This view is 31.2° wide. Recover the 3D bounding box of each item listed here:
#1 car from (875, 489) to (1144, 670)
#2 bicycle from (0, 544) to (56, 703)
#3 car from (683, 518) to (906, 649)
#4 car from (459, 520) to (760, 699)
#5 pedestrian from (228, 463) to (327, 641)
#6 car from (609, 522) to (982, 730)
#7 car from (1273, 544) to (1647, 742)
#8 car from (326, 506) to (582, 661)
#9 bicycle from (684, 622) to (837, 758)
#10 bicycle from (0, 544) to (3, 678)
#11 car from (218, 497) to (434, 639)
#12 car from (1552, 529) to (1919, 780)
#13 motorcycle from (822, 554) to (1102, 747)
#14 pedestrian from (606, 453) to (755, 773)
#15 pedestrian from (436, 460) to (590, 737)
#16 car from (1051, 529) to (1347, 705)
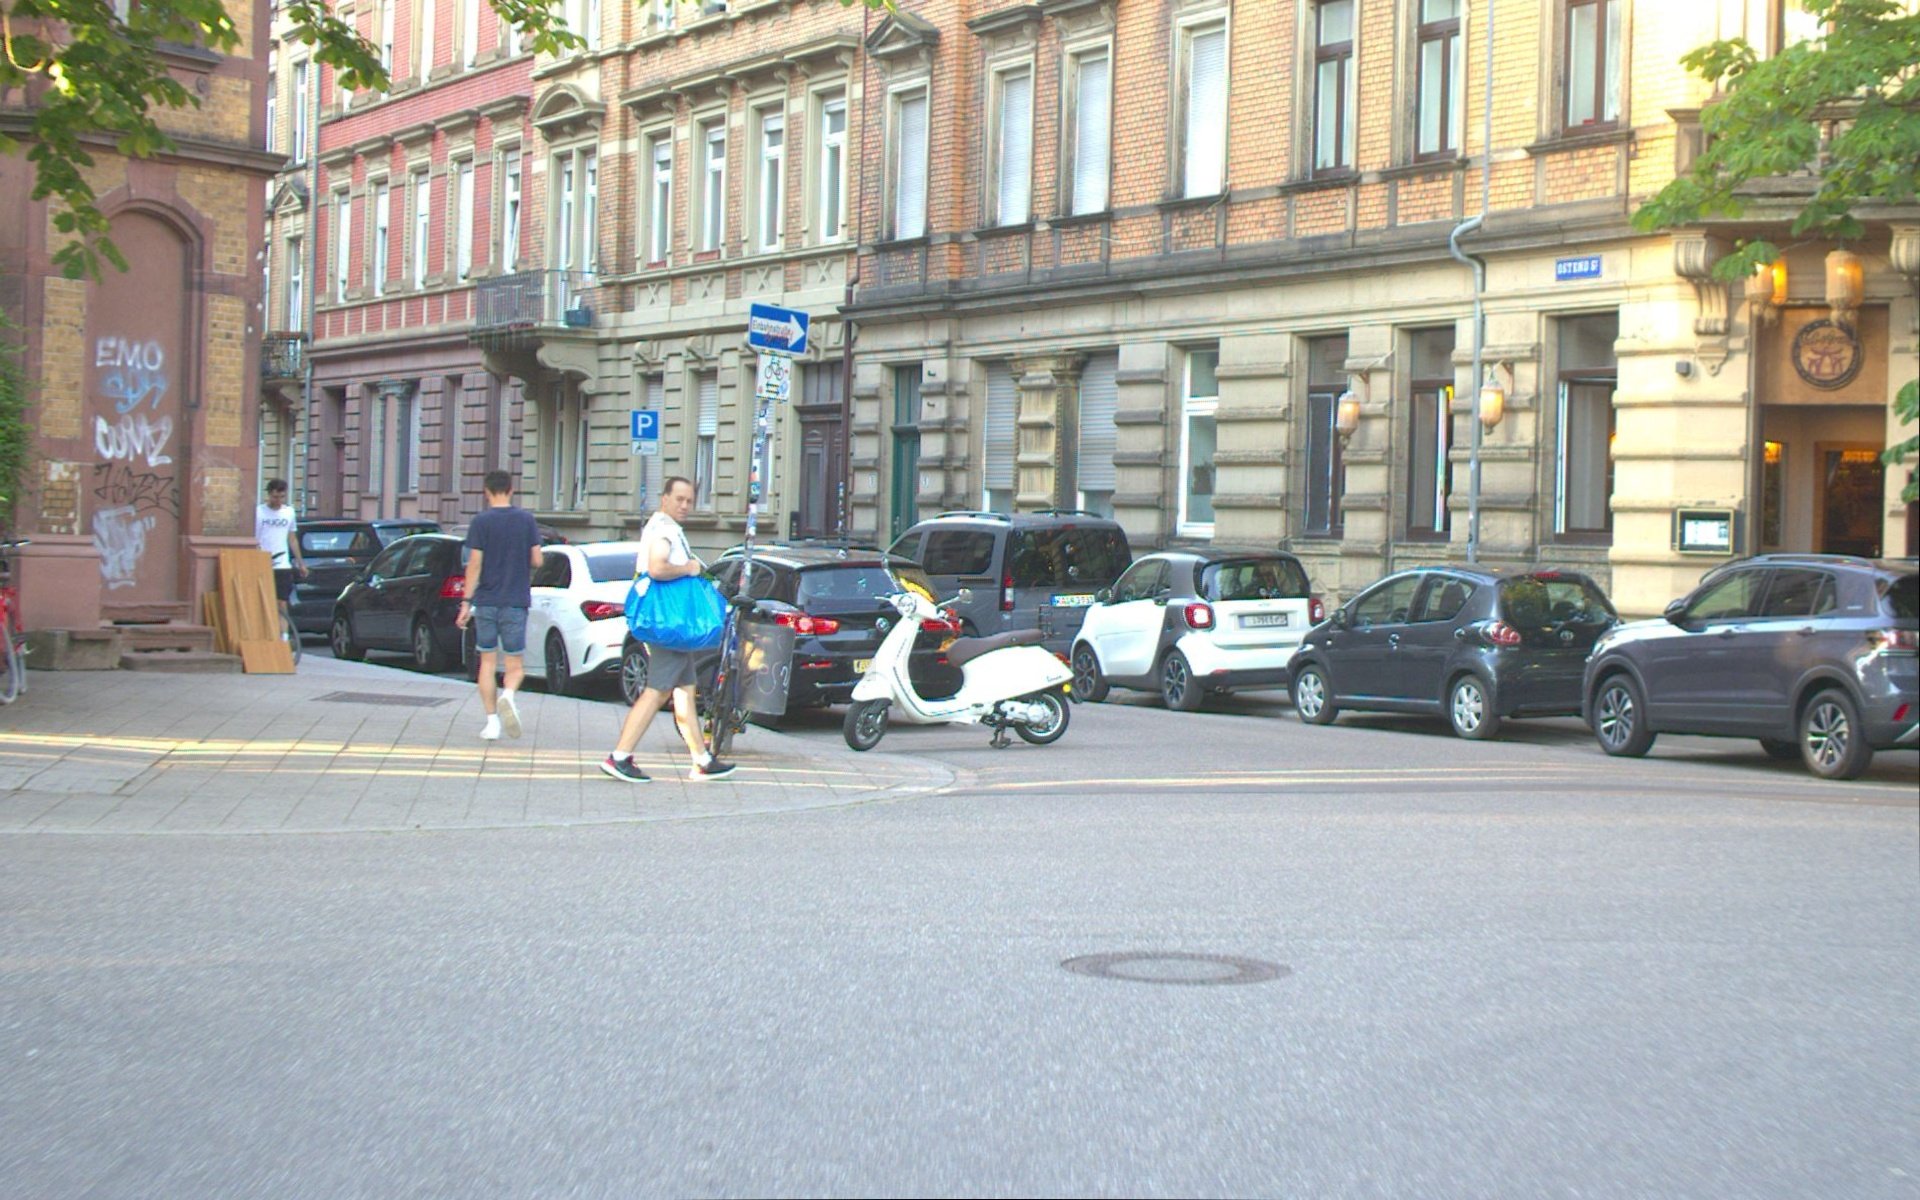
[{"bbox_3d":[0.491,-0.246,36.883,1.674,1.776,3.016,2,2,-25],"label":"car"},{"bbox_3d":[-6.646,0.147,24.062,0.319,1.024,1.678,2,2,-5],"label":"bicycle"},{"bbox_3d":[-2.063,-0.220,42.179,1.674,1.426,3.016,2,2,-25],"label":"car"},{"bbox_3d":[-3.423,0.047,32.863,1.654,1.426,4.168,2,2,-23],"label":"car"},{"bbox_3d":[-7.056,-0.500,35.527,0.840,1.797,0.776,1,2,-21],"label":"pedestrian"},{"bbox_3d":[-1.440,0.173,28.385,1.654,1.426,3.991,2,3,-25],"label":"car"},{"bbox_3d":[4.290,0.339,29.927,1.674,1.520,3.244,1,2,-25],"label":"car"},{"bbox_3d":[-5.527,-0.212,37.192,1.654,1.426,3.897,2,3,-25],"label":"car"},{"bbox_3d":[-1.319,0.586,22.943,0.425,0.819,1.460,3,2,21],"label":"bicycle"},{"bbox_3d":[-6.957,0.137,23.941,0.242,1.024,1.678,2,2,-5],"label":"bicycle"},{"bbox_3d":[-7.883,-0.423,42.493,1.654,1.519,3.897,2,3,-25],"label":"car"},{"bbox_3d":[6.335,0.356,25.394,1.914,1.520,3.897,2,3,-25],"label":"car"},{"bbox_3d":[0.010,0.367,25.061,1.931,1.336,0.577,1,2,-11],"label":"motorcycle"},{"bbox_3d":[-1.663,0.064,20.439,0.815,1.846,0.803,2,2,-5],"label":"pedestrian"},{"bbox_3d":[-3.009,-0.024,23.047,0.735,1.797,1.122,1,2,-21],"label":"pedestrian"},{"bbox_3d":[2.284,0.145,33.444,1.674,1.520,2.768,2,2,-25],"label":"car"}]
